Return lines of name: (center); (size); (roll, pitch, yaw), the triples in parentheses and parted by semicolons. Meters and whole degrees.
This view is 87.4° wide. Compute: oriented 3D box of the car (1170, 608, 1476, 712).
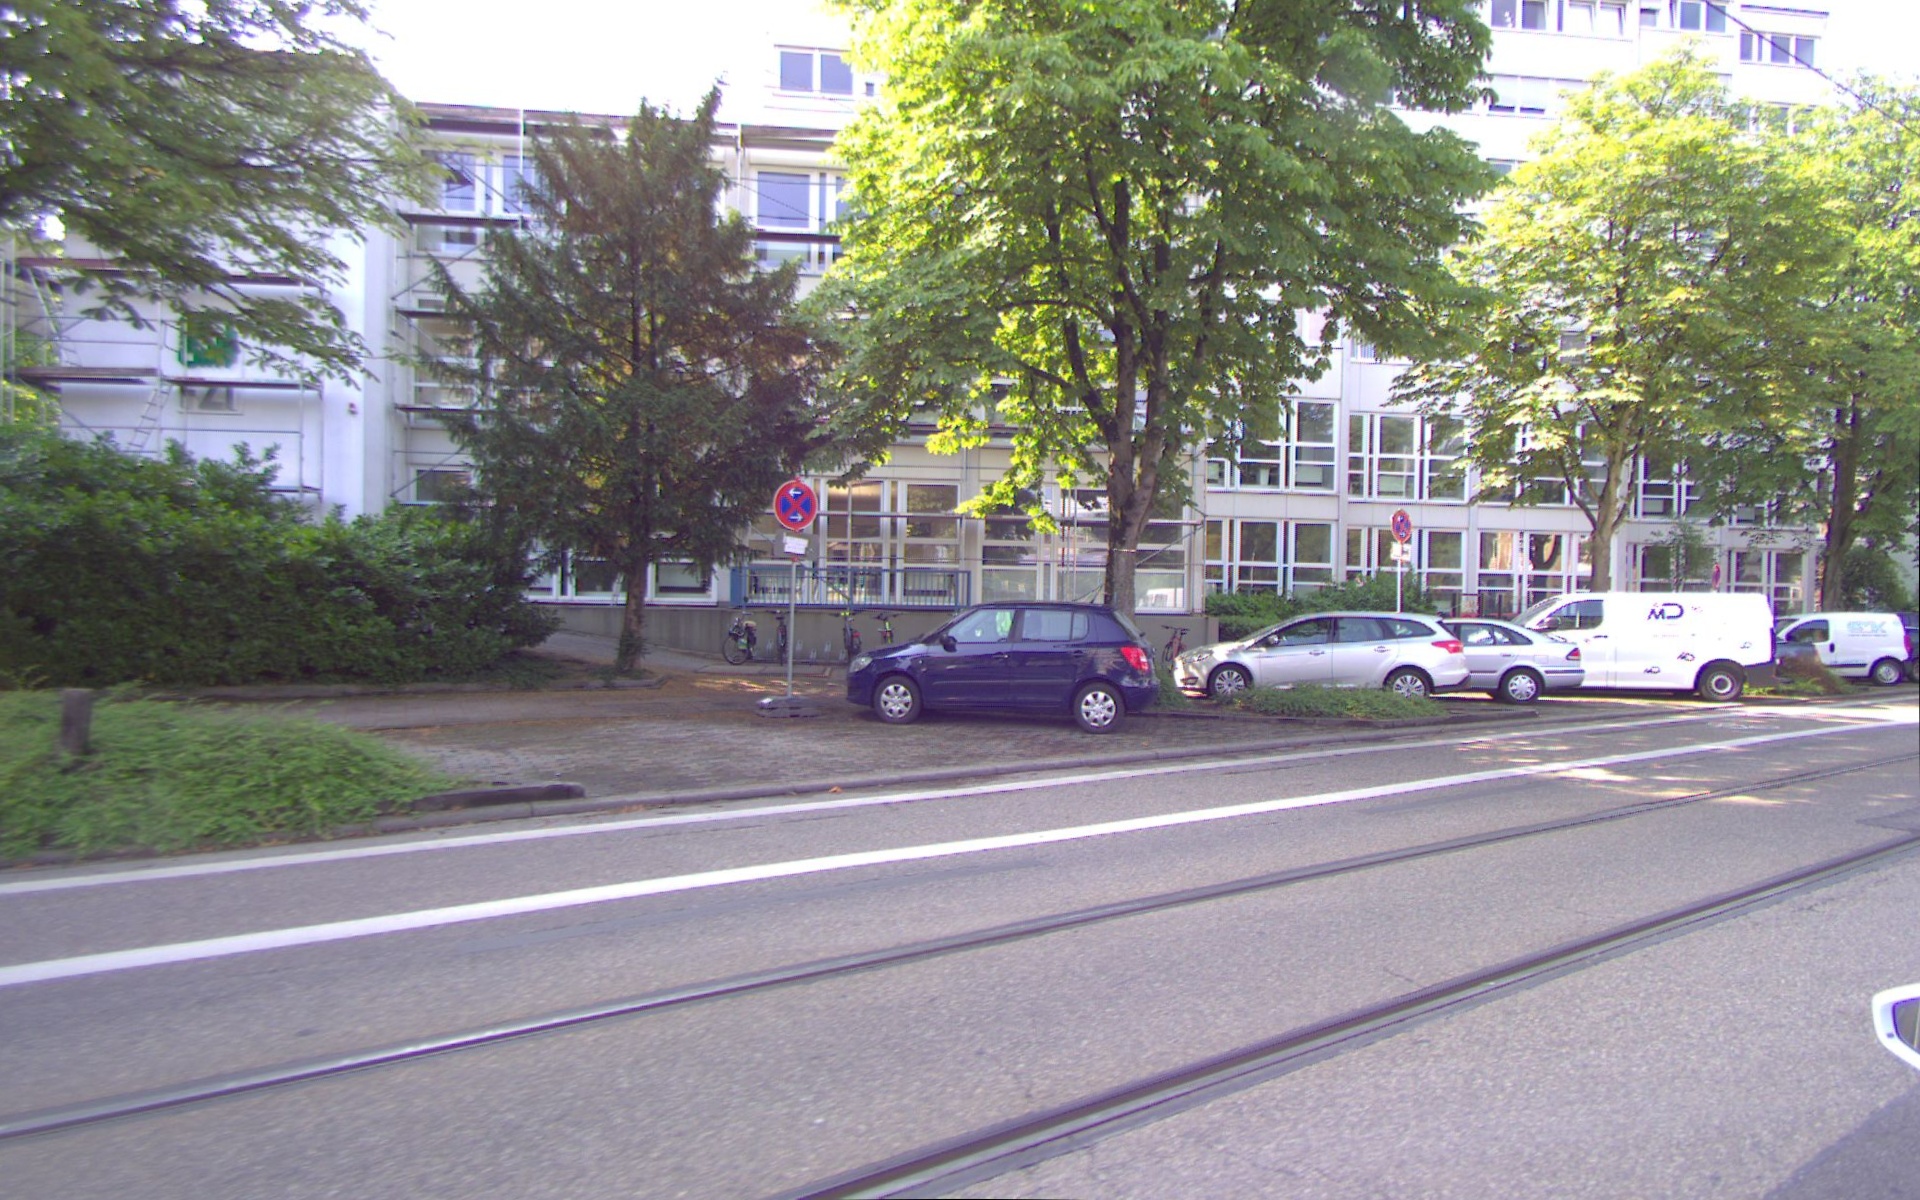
car: (5.611, 0.908, 16.080); (4.371, 1.445, 1.741); (1, -1, 12)

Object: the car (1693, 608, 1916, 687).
car: (20.406, 1.108, 24.455); (3.682, 1.735, 1.885); (1, 0, 13)

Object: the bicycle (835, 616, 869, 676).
bicycle: (-2.118, 0.870, 19.809); (0.487, 1.101, 2.055); (1, 0, -2)

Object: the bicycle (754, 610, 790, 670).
bicycle: (-3.664, 0.759, 19.686); (0.488, 1.101, 2.054); (1, 0, -6)

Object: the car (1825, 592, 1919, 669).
car: (28.646, 0.962, 29.699); (4.119, 2.109, 1.884); (4, 2, 13)

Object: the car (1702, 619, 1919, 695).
car: (18.938, 1.234, 22.266); (3.563, 1.520, 1.764); (1, -1, 10)

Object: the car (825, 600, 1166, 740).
car: (0.491, 0.789, 12.542); (3.920, 1.482, 1.760); (1, 0, 16)

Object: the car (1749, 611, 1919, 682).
car: (23.227, 1.185, 26.200); (3.682, 1.735, 1.885); (1, 0, 13)

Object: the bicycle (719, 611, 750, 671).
bicycle: (-4.397, 0.769, 19.637); (0.488, 1.101, 2.052); (1, 0, -10)

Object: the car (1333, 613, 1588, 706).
car: (8.628, 1.053, 17.662); (3.708, 1.495, 1.727); (-2, -2, 15)

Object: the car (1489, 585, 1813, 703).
car: (12.703, 0.854, 18.857); (4.550, 1.937, 1.933); (-3, -2, 17)

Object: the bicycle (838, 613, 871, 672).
bicycle: (-2.124, 0.829, 20.141); (0.488, 1.101, 2.052); (1, 0, -10)
